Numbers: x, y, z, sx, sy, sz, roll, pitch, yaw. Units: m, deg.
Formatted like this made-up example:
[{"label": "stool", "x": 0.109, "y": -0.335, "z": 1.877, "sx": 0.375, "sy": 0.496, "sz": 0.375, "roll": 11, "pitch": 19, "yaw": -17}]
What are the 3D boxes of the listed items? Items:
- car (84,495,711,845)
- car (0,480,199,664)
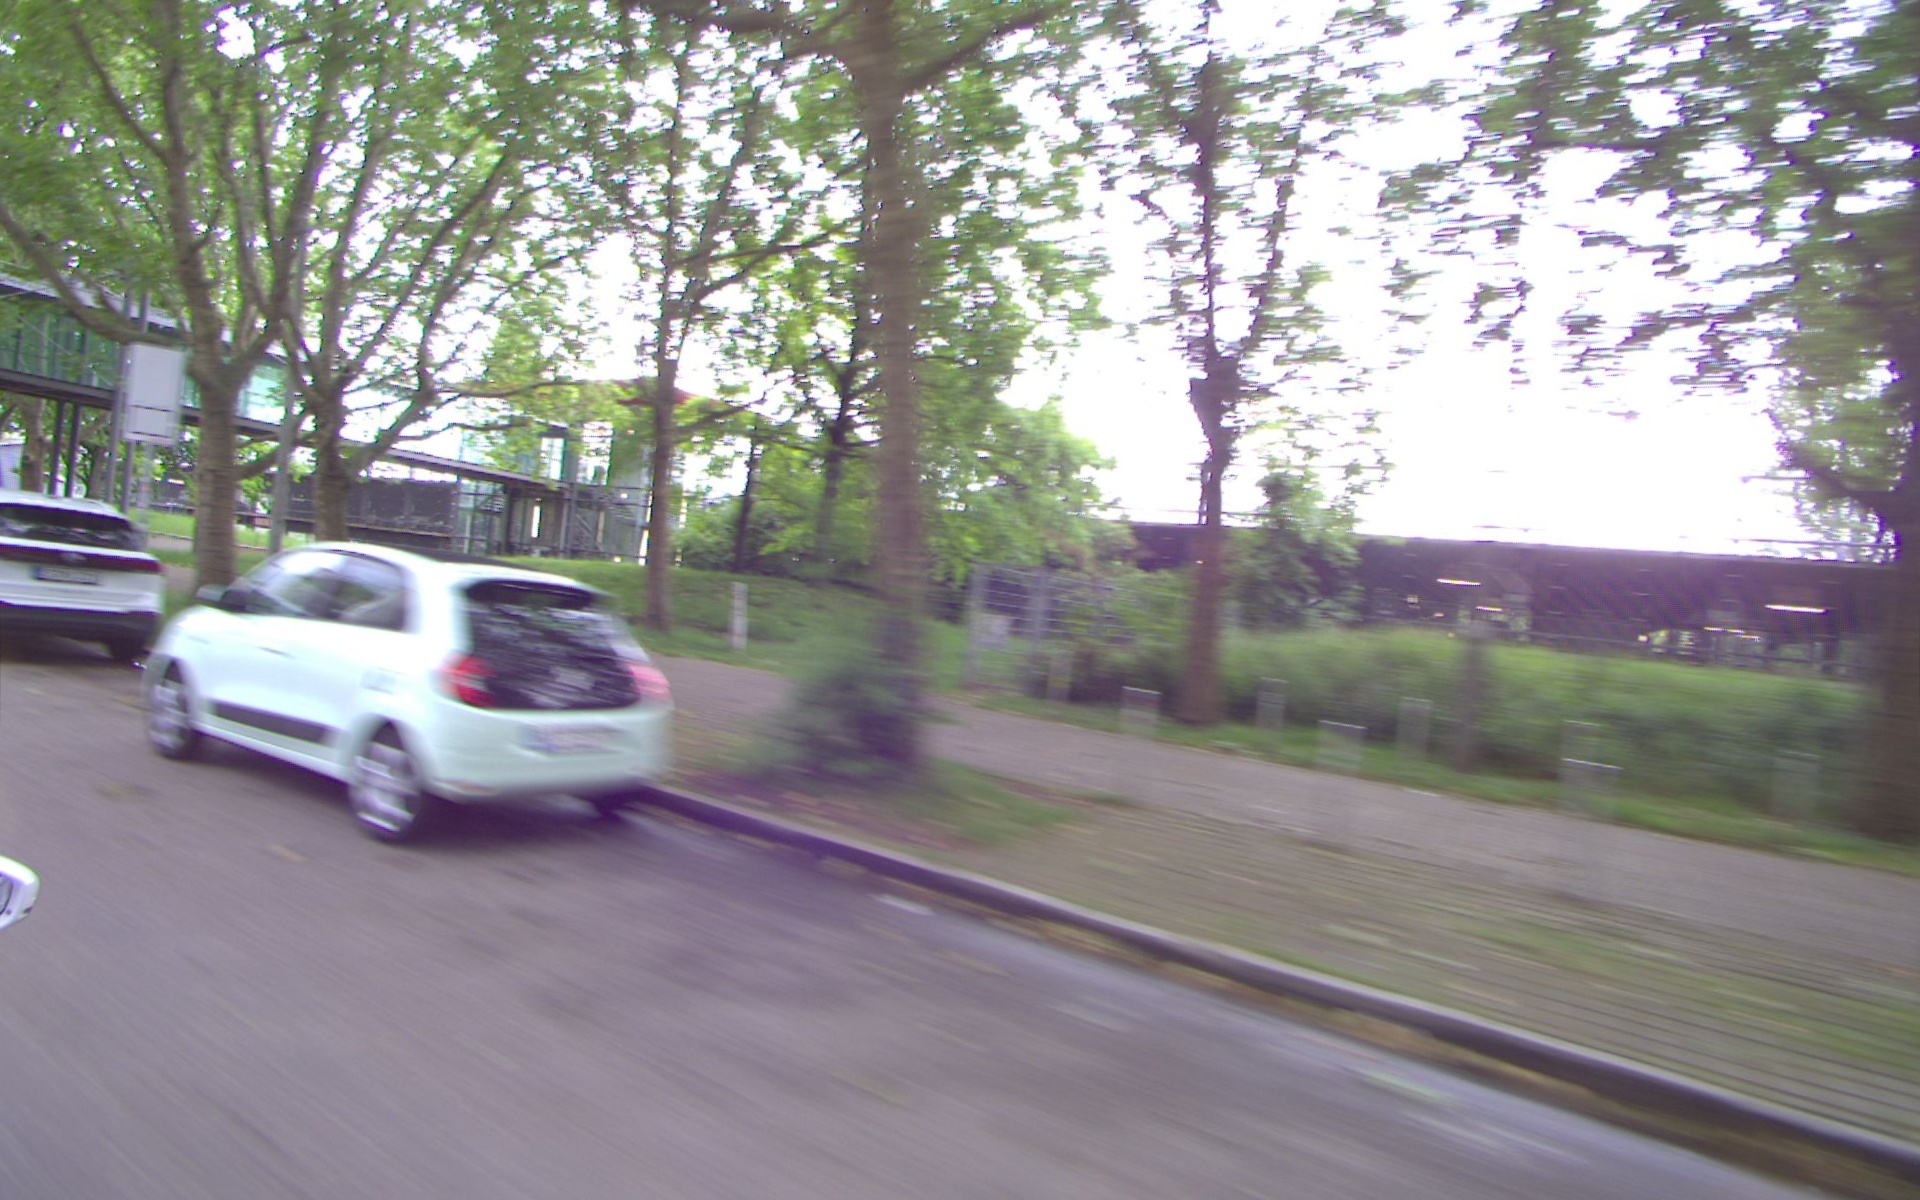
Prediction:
[{"label": "car", "x": -3.818, "y": 0.289, "z": 6.656, "sx": 4.028, "sy": 1.545, "sz": 1.809, "roll": 6, "pitch": 0, "yaw": 32}, {"label": "car", "x": -10.391, "y": -0.434, "z": 10.801, "sx": 4.671, "sy": 1.638, "sz": 1.916, "roll": 6, "pitch": 0, "yaw": 32}]
